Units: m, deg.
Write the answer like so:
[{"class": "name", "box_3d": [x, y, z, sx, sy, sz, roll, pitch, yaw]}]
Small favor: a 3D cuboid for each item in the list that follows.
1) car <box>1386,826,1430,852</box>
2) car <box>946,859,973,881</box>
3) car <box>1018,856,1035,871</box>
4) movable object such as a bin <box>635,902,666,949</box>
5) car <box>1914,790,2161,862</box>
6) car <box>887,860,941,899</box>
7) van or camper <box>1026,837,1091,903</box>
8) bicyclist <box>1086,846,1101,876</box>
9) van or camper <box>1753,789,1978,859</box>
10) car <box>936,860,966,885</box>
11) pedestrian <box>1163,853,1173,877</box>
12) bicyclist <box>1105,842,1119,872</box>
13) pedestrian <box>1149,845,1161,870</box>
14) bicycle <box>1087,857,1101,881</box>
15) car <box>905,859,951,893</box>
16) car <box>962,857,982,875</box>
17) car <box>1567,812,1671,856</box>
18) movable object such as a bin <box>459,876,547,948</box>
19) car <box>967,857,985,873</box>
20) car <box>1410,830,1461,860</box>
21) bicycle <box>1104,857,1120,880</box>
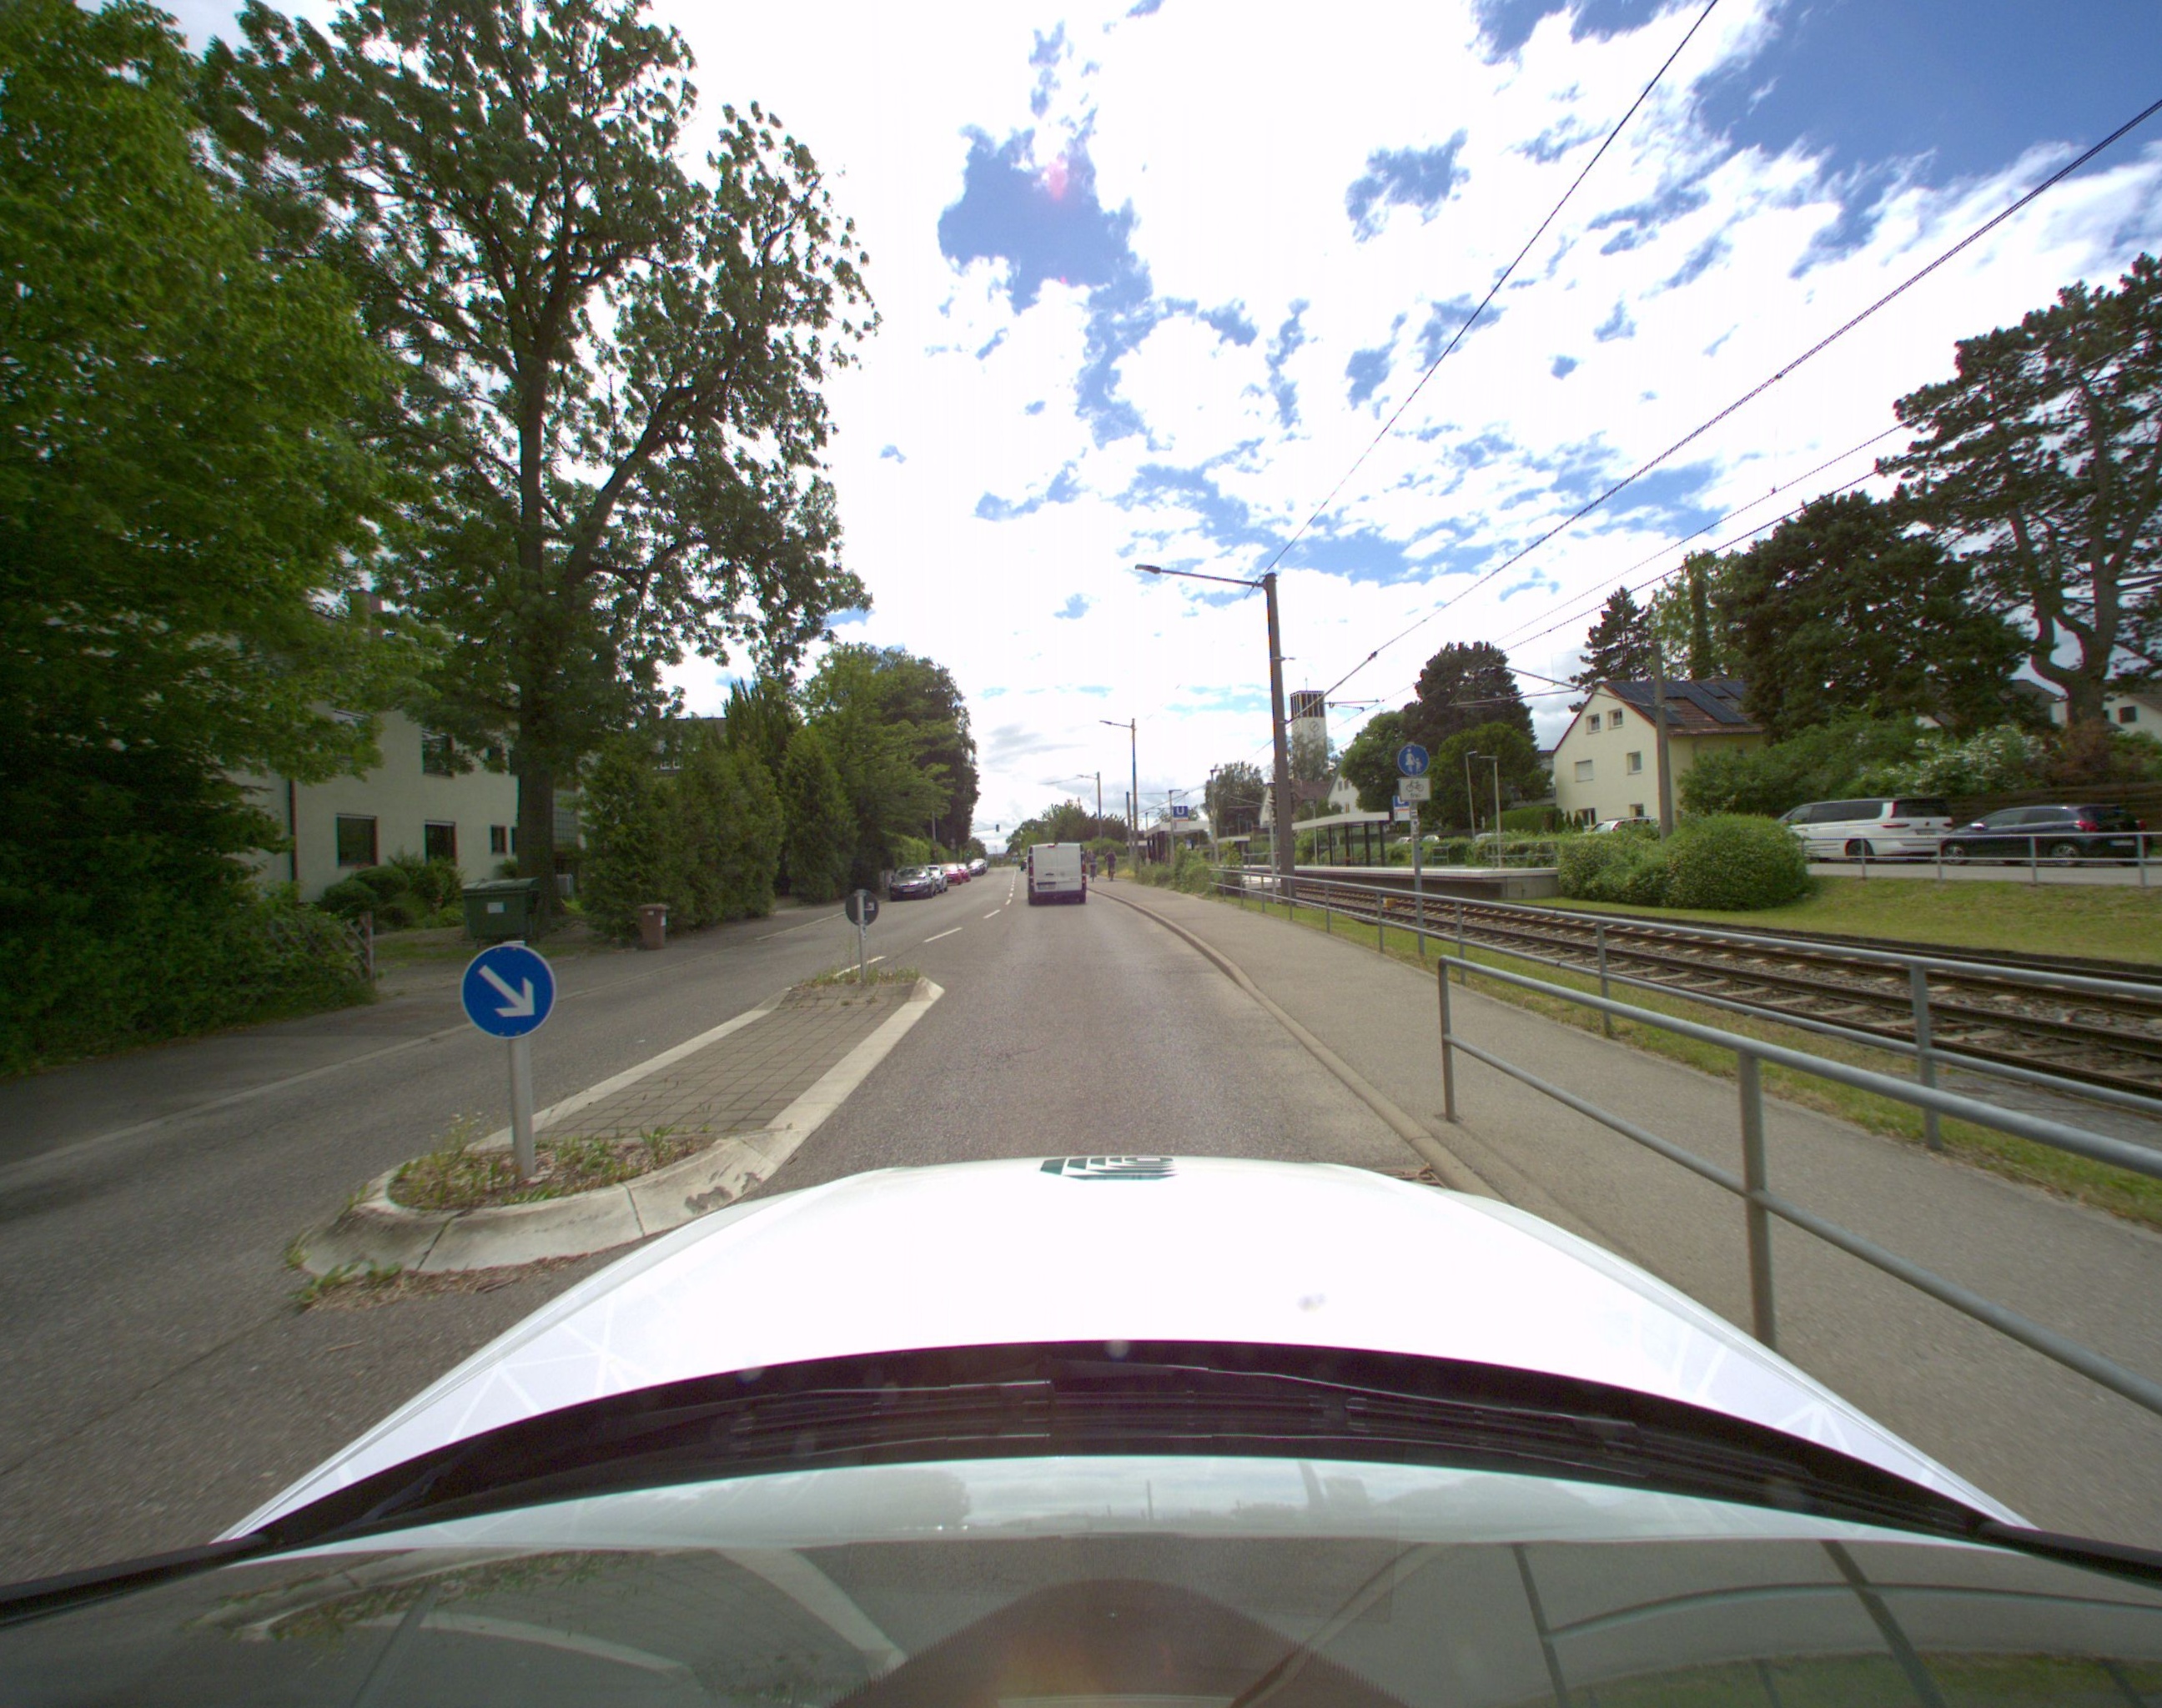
[{"class": "car", "box_3d": [23.981, -1.058, 59.845, 1.726, 1.751, 3.936, -2, 0, 2]}, {"class": "car", "box_3d": [-9.096, 1.158, 61.291, 1.760, 1.471, 4.177, -3, 0, -6]}, {"class": "car", "box_3d": [-6.703, 1.162, 100.368, 1.847, 1.648, 3.731, -2, 0, -2]}, {"class": "movable object such as a bin", "box_3d": [-8.911, 1.471, 16.870, 0.463, 0.930, 0.428, 1, -2, -17]}, {"class": "car", "box_3d": [23.324, -0.626, 19.906, 1.876, 1.522, 4.001, -2, 0, 2]}, {"class": "car", "box_3d": [-7.356, 1.073, 36.238, 1.734, 1.505, 4.469, -4, 0, -5]}, {"class": "van or camper", "box_3d": [-0.852, 0.514, 27.597, 1.990, 2.014, 4.438, -1, -1, -4]}, {"class": "bicyclist", "box_3d": [0.684, 0.364, 45.111, 0.716, 1.612, 0.756, -2, 0, -5]}, {"class": "van or camper", "box_3d": [23.384, -0.814, 24.630, 1.899, 1.826, 5.047, -2, 0, 0]}, {"class": "car", "box_3d": [-8.627, 1.199, 54.240, 1.585, 1.505, 3.510, -4, 0, -4]}, {"class": "pedestrian", "box_3d": [4.815, 0.602, 45.137, 0.391, 1.344, 0.490, -2, 0, 24]}, {"class": "bicyclist", "box_3d": [1.740, 0.181, 46.123, 0.638, 1.649, 0.817, -2, 0, -5]}, {"class": "pedestrian", "box_3d": [5.052, 0.244, 55.502, 0.633, 1.725, 0.657, -2, 0, 15]}, {"class": "bicycle", "box_3d": [0.719, 0.819, 45.106, 0.545, 1.246, 2.051, -2, 0, -5]}, {"class": "car", "box_3d": [-7.795, 1.105, 41.710, 1.733, 1.505, 3.958, -4, 0, -4]}, {"class": "car", "box_3d": [-10.966, 1.189, 82.390, 1.760, 1.625, 4.177, -3, 0, -6]}, {"class": "car", "box_3d": [28.264, -1.033, 42.862, 4.321, 1.943, 1.743, -5, 0, -6]}, {"class": "movable object such as a bin", "box_3d": [-12.384, 1.220, 17.493, 1.276, 1.401, 0.893, -2, 0, -17]}, {"class": "car", "box_3d": [-11.393, 1.193, 88.647, 1.760, 1.656, 4.052, -3, 0, -6]}, {"class": "car", "box_3d": [23.836, -0.573, 54.895, 1.726, 1.914, 3.935, -1, -1, 1]}, {"class": "bicycle", "box_3d": [1.741, 0.793, 46.242, 0.617, 1.246, 2.391, -2, 0, -5]}]
